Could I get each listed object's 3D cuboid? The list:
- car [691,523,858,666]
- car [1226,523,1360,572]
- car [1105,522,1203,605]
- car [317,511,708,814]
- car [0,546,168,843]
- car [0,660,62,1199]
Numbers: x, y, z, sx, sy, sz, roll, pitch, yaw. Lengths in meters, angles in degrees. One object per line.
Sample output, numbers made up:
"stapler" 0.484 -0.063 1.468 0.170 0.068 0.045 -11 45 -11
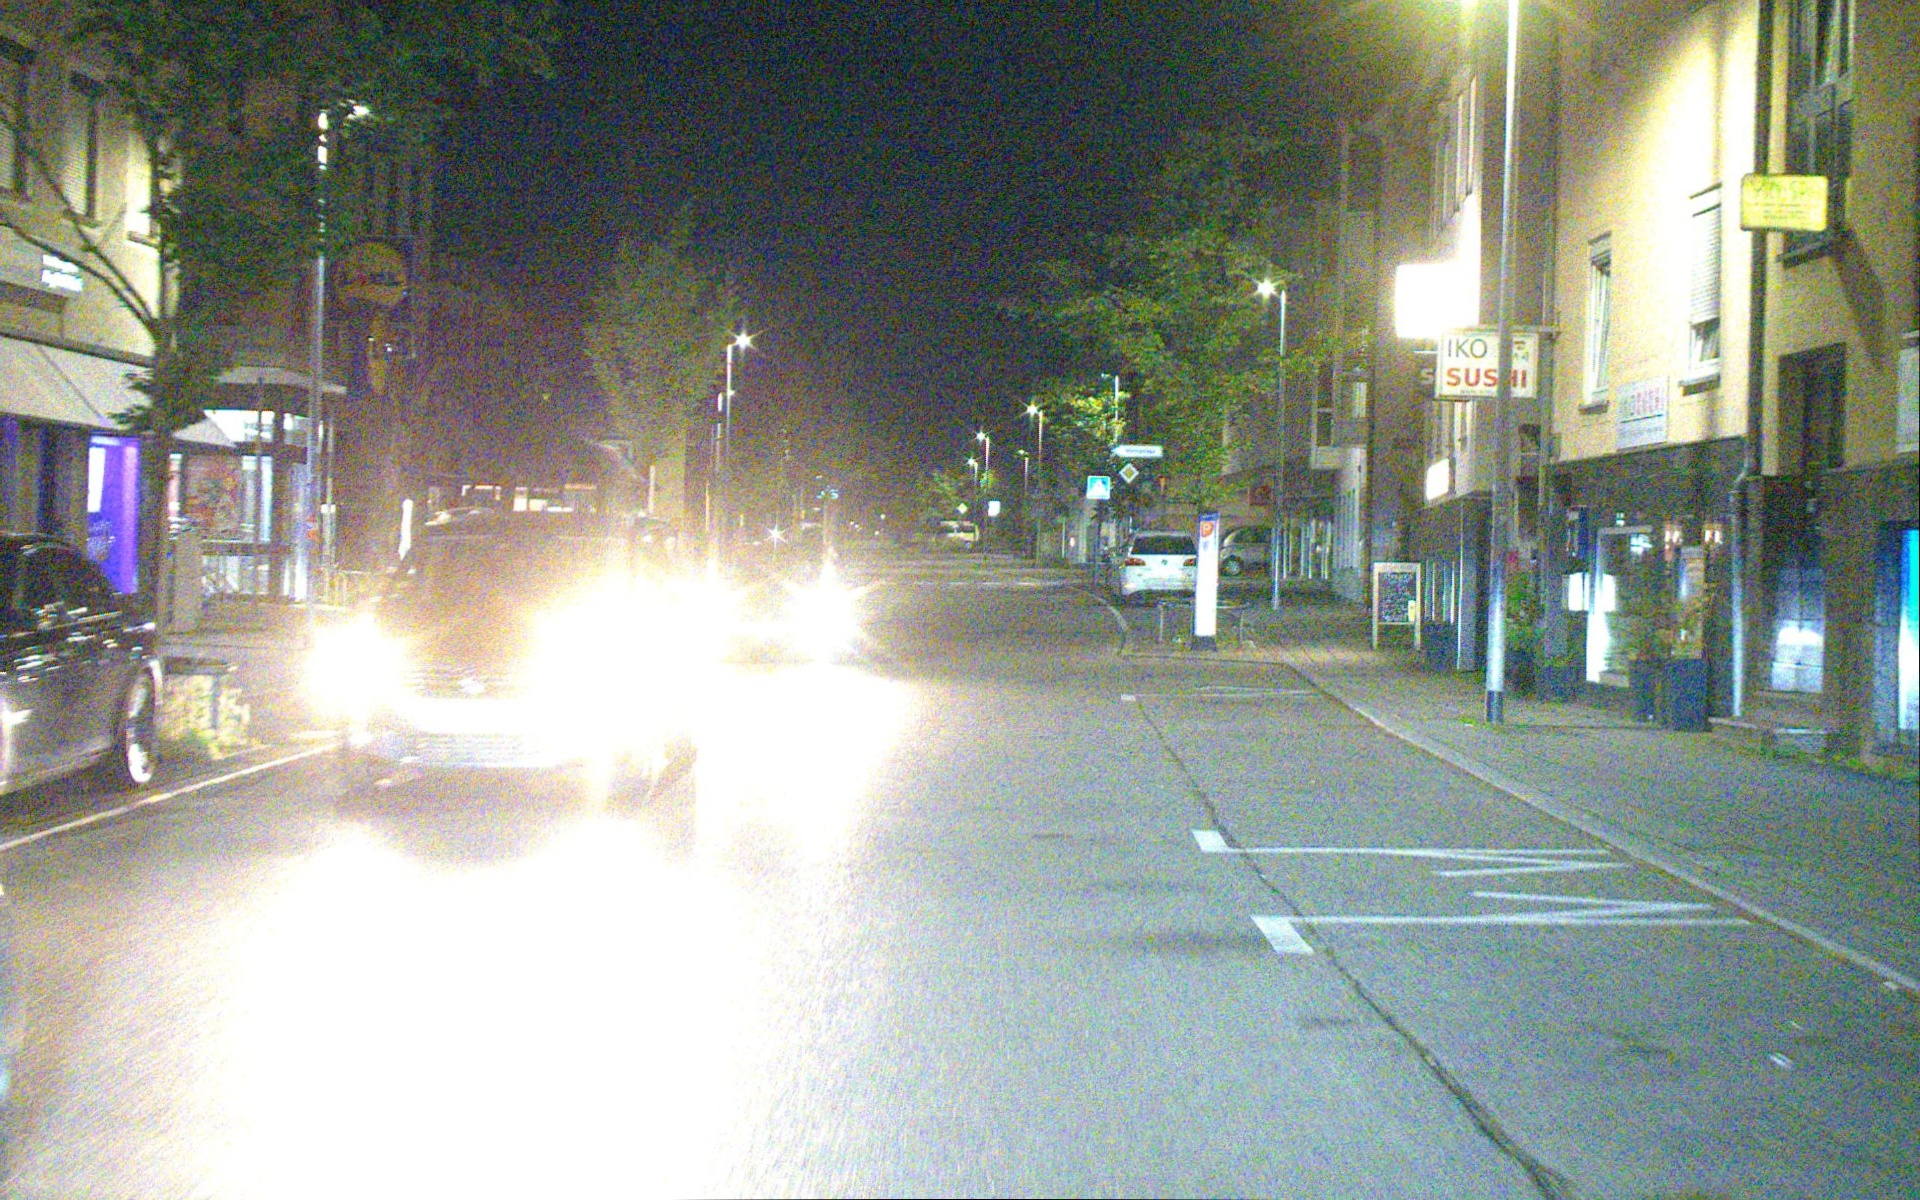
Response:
"car" -2.236 -0.112 42.395 1.775 1.647 4.364 0 1 1
"car" 10.085 -1.585 104.200 3.987 1.411 2.000 0 -1 5
"car" 3.982 -0.773 71.093 1.775 1.647 4.364 0 1 0
"car" -2.613 0.291 21.009 1.775 1.647 4.364 0 1 1
"car" -5.502 0.435 17.421 1.914 1.366 4.457 0 2 1
"car" -2.826 0.782 5.374 1.723 1.242 4.237 1 1 0
